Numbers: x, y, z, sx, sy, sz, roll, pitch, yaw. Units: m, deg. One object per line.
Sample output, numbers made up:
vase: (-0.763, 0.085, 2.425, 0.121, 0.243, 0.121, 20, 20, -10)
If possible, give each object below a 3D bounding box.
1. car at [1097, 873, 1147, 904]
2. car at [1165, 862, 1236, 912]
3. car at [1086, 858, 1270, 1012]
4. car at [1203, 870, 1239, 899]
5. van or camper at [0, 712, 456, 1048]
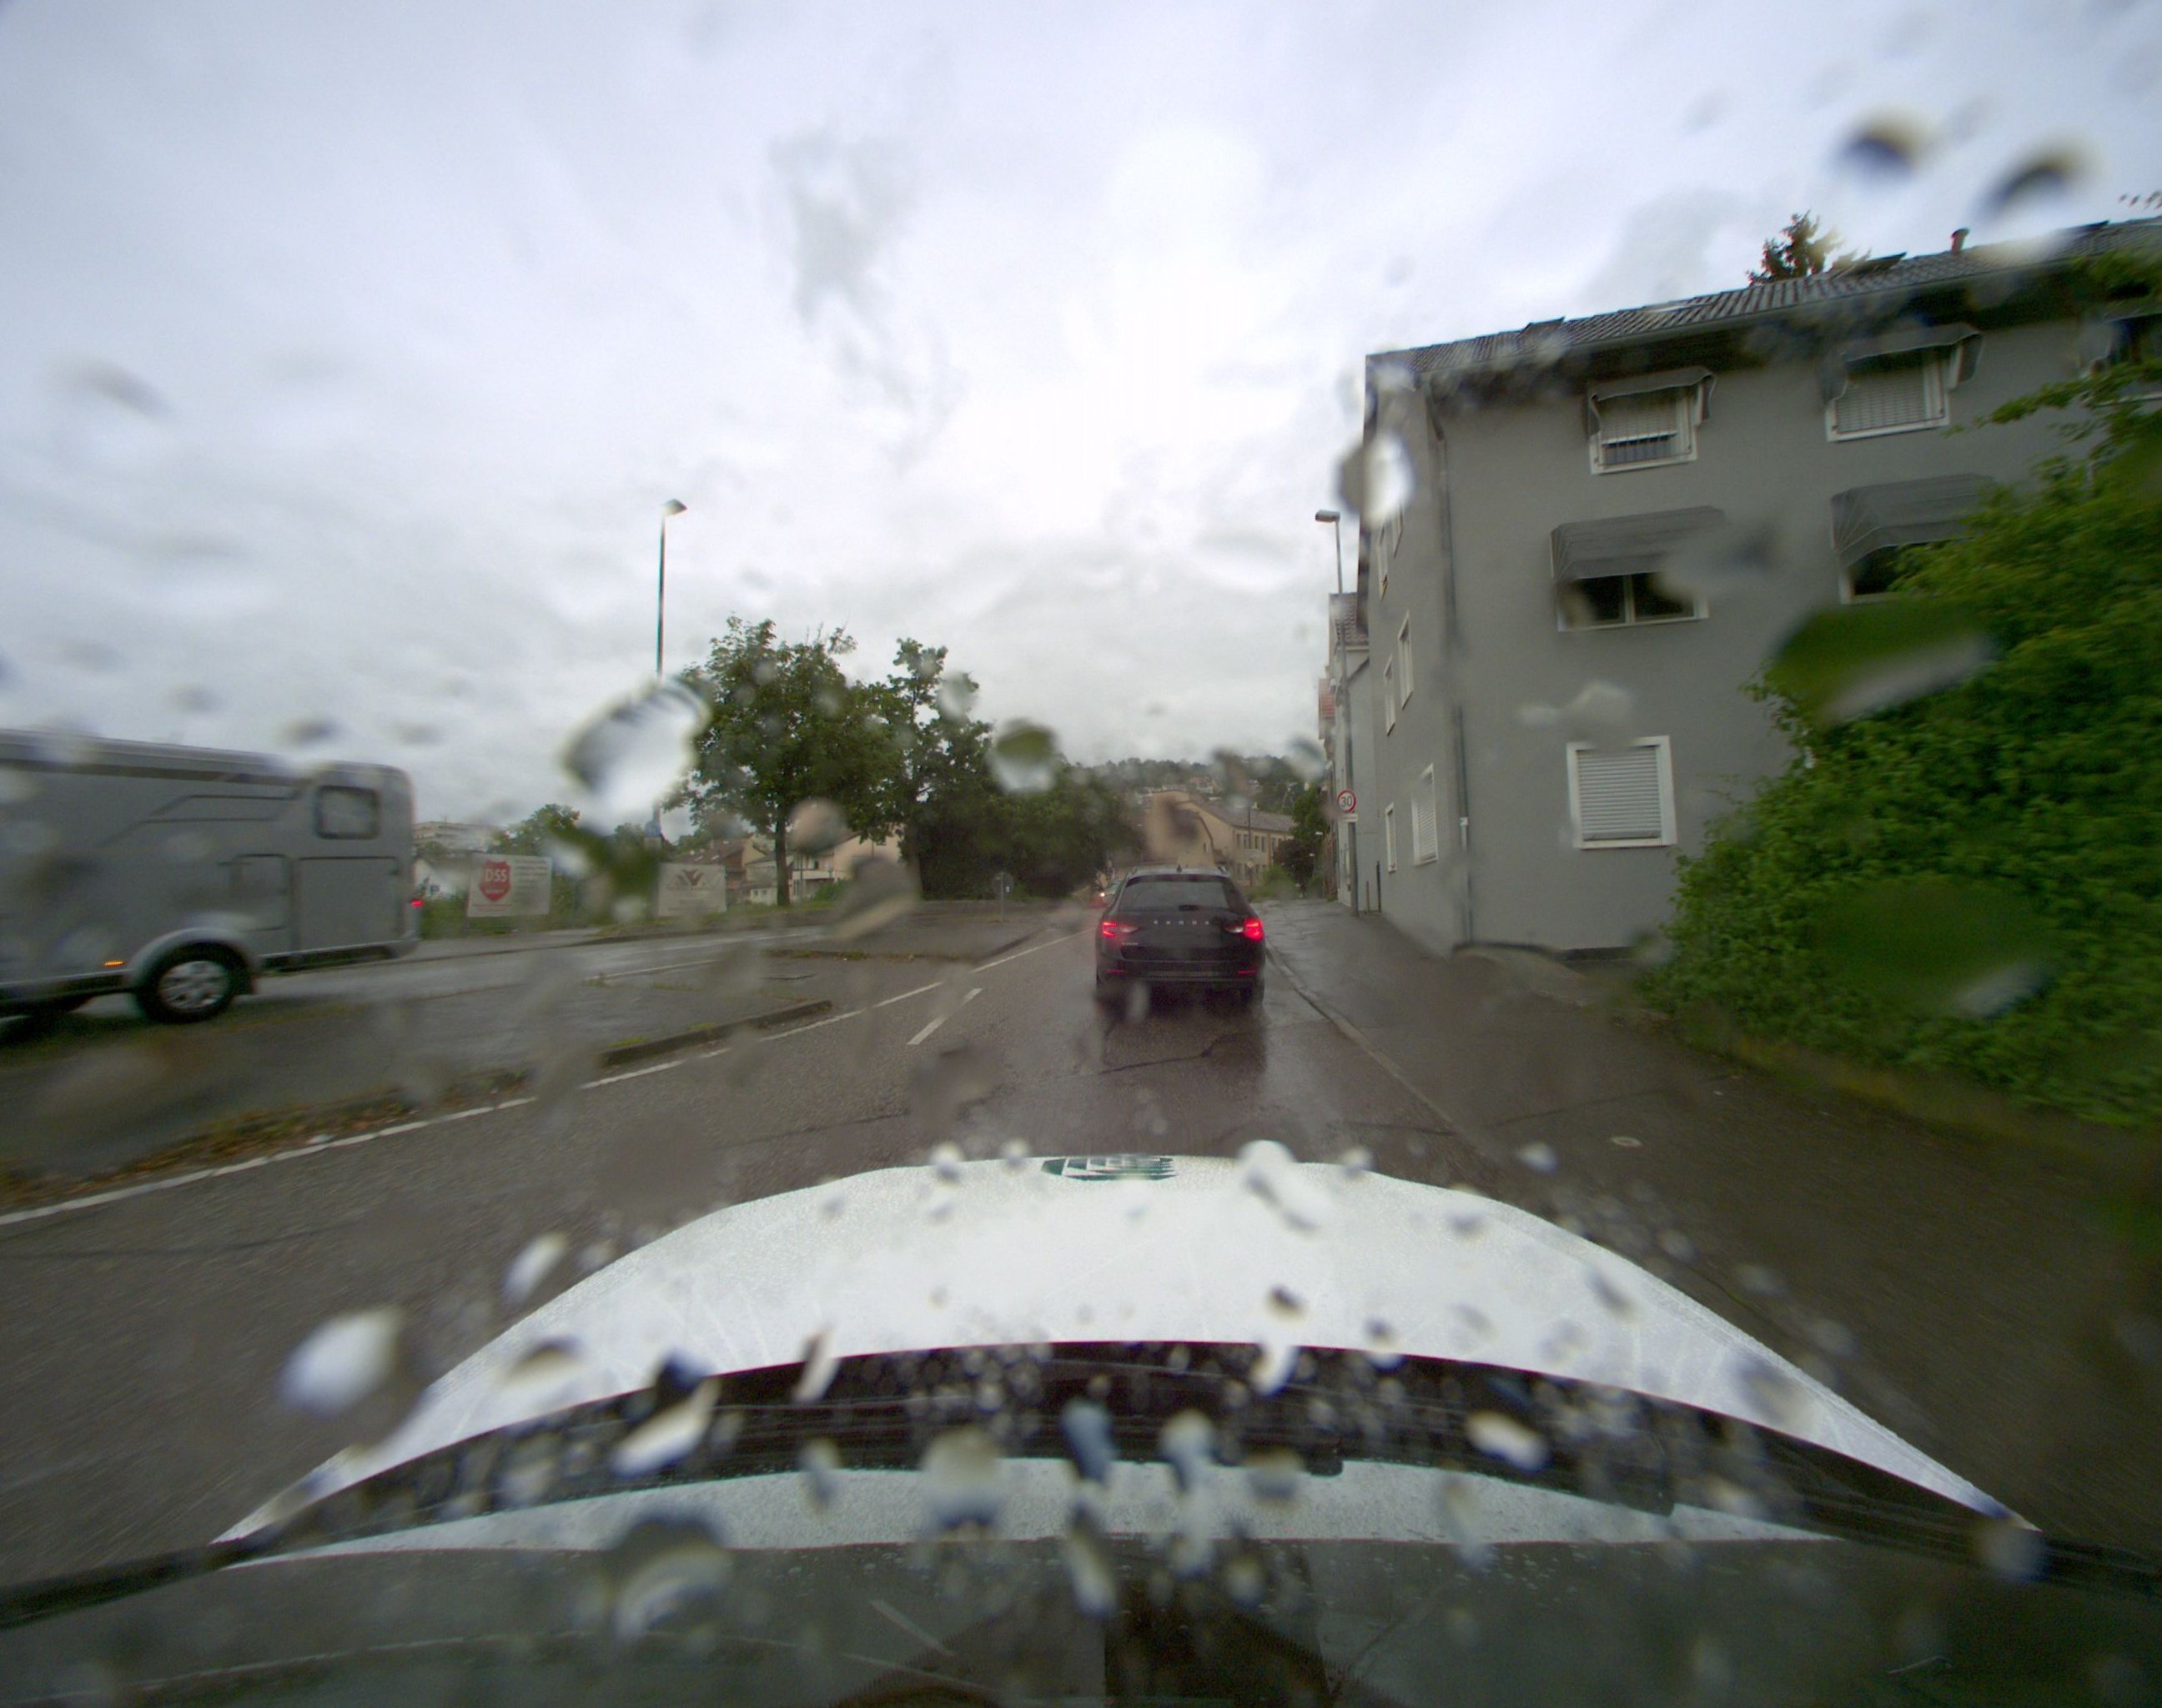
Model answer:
car: (2.237, 1.830, 43.178, 1.631, 1.552, 4.173, -1, -2, 18)
car: (3.730, 1.075, 24.888, 1.805, 1.360, 4.001, -2, -4, 12)
car: (1.131, 0.810, 10.066, 1.773, 1.483, 4.251, 0, -1, 5)
car: (7.177, 1.523, 41.517, 1.641, 1.387, 3.932, 0, -1, 12)
van or camper: (-9.659, 0.218, 6.850, 2.351, 2.656, 7.044, -1, -1, 13)
